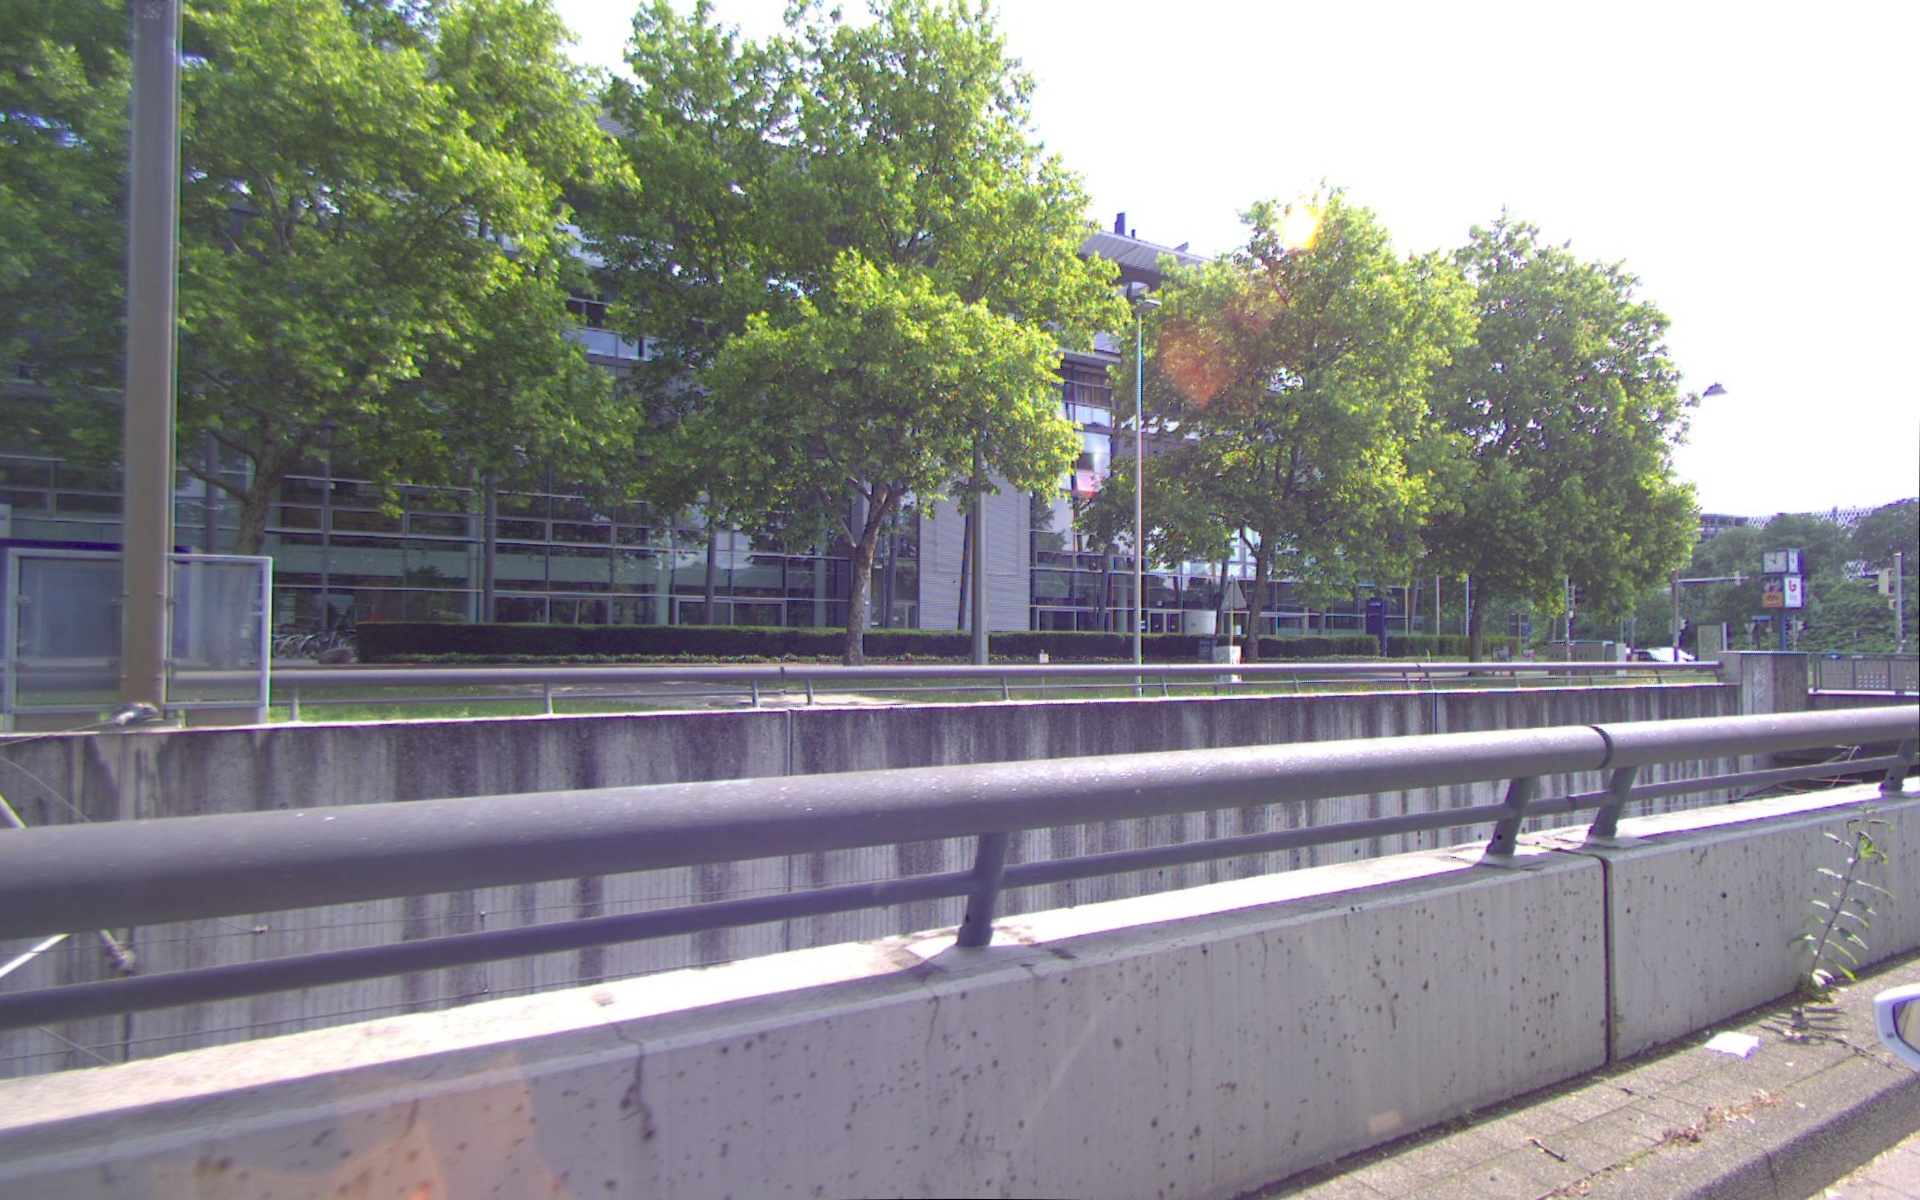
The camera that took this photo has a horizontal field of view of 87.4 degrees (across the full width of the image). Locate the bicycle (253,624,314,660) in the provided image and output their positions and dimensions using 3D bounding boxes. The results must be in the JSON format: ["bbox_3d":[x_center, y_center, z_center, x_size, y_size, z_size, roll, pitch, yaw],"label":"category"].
[{"bbox_3d":[-23.152,1.437,34.419,0.624,1.164,2.271,4,-2,-5],"label":"bicycle"}]

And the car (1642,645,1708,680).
[{"bbox_3d":[51.114,4.422,71.938,1.937,1.773,4.024,3,6,5],"label":"car"}]

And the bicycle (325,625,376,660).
[{"bbox_3d":[-20.971,1.456,34.616,0.624,1.165,2.269,1,-2,-8],"label":"bicycle"}]

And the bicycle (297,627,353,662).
[{"bbox_3d":[-21.801,1.516,34.535,0.624,1.165,2.270,1,-2,-6],"label":"bicycle"}]

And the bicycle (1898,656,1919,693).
[{"bbox_3d":[23.101,1.756,23.247,0.604,0.837,1.966,2,-2,-25],"label":"bicycle"}]

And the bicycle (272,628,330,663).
[{"bbox_3d":[-22.638,1.568,34.548,0.623,1.165,2.271,1,-2,-5],"label":"bicycle"}]

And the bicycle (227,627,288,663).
[{"bbox_3d":[-24.037,1.533,34.408,0.623,1.165,2.271,1,-2,-5],"label":"bicycle"}]
